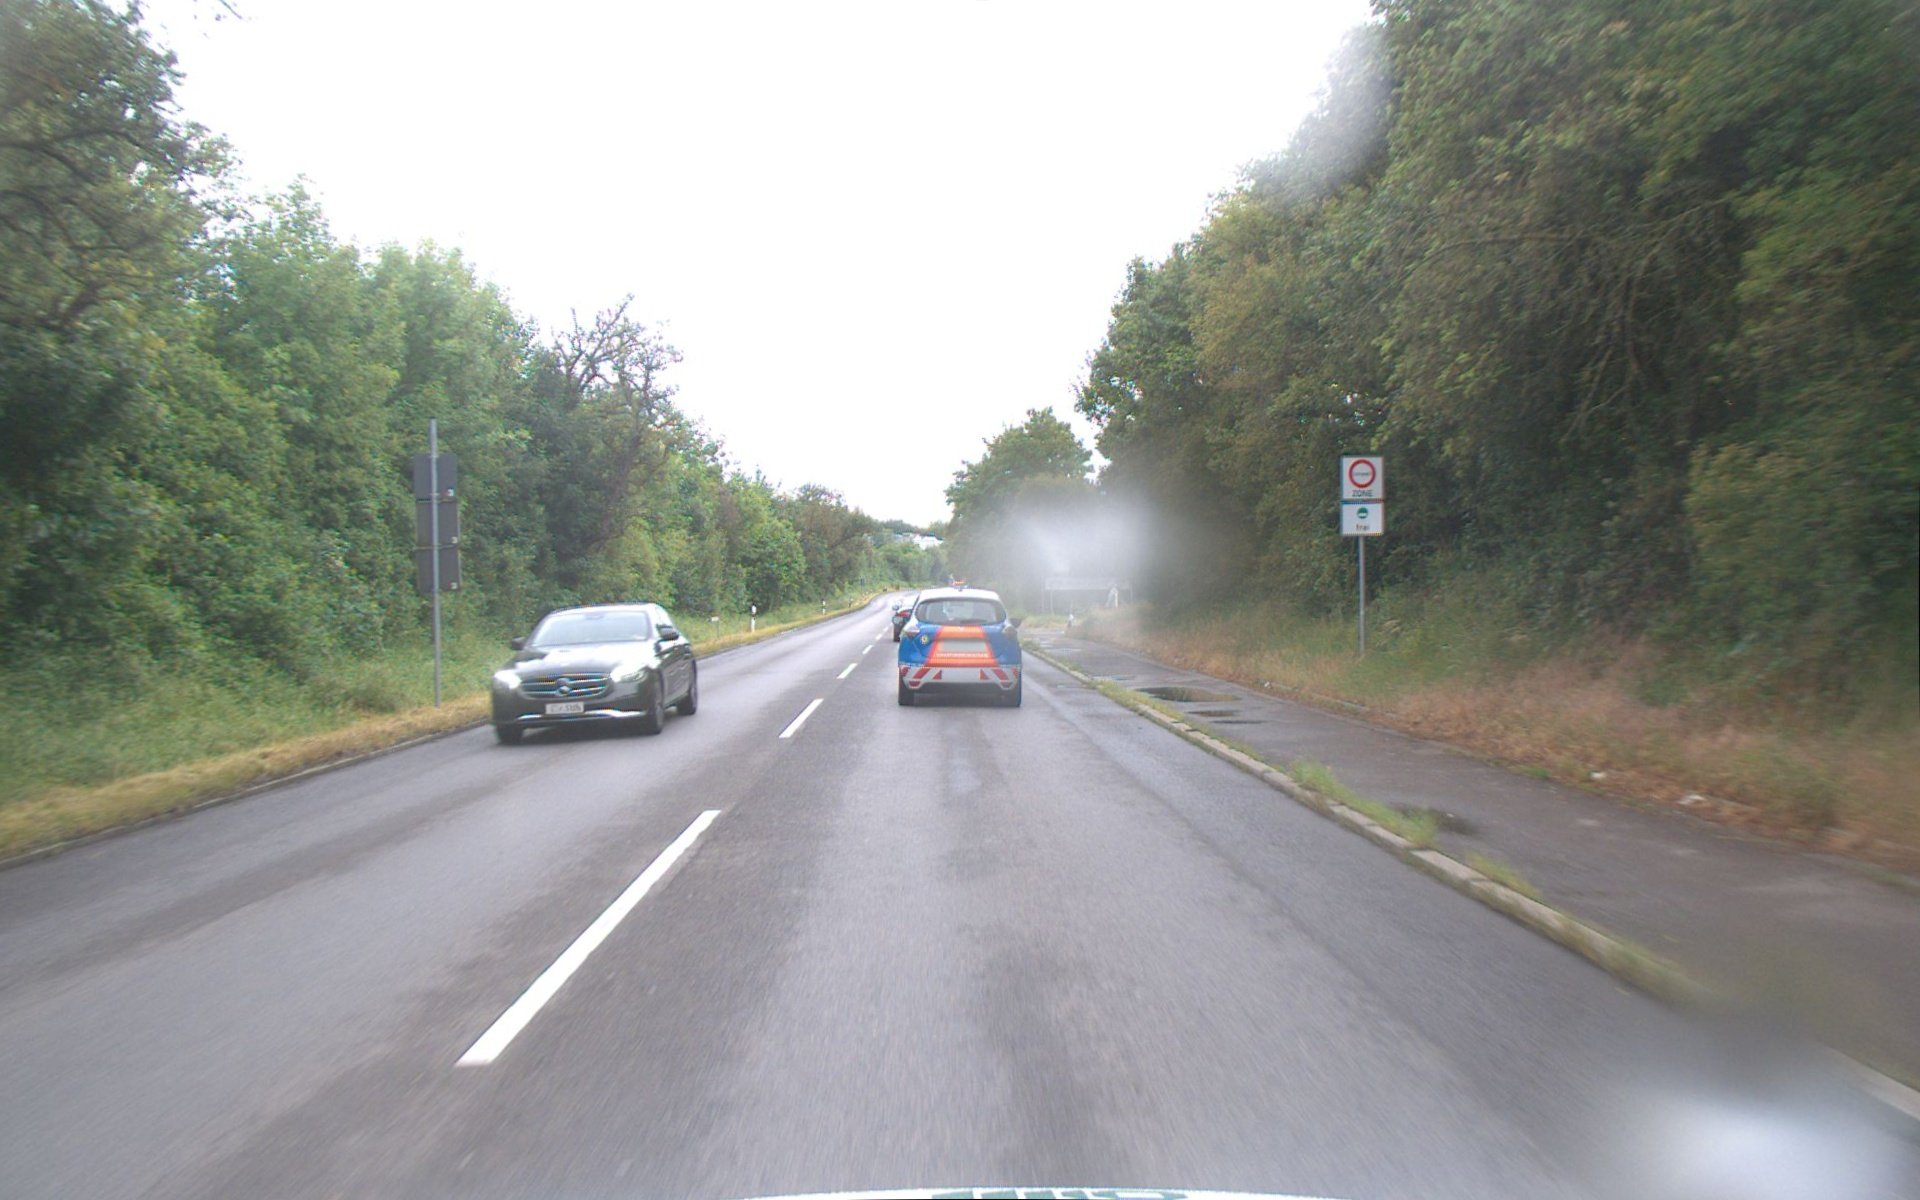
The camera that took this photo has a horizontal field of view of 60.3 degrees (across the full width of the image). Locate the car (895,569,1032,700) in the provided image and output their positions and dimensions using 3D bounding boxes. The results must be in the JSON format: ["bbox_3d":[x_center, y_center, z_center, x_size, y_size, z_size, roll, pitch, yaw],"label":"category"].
[{"bbox_3d":[-0.001,0.447,23.611,1.769,1.697,3.854,1,0,-2],"label":"car"}]

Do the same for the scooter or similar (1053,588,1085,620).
[{"bbox_3d":[4.328,0.166,65.791,1.302,1.227,0.372,-1,0,40],"label":"scooter or similar"}]

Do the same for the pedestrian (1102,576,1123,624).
[{"bbox_3d":[5.770,-0.002,62.506,0.647,1.809,0.760,-2,0,-1],"label":"pedestrian"}]

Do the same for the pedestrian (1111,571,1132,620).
[{"bbox_3d":[6.173,-0.182,63.327,0.679,1.859,0.801,-2,0,-1],"label":"pedestrian"}]

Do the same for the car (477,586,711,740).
[{"bbox_3d":[-4.248,0.666,19.950,1.833,1.515,4.573,-4,0,-2],"label":"car"}]

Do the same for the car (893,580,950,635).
[{"bbox_3d":[-1.231,0.213,51.732,1.660,1.623,3.854,1,0,-3],"label":"car"}]
